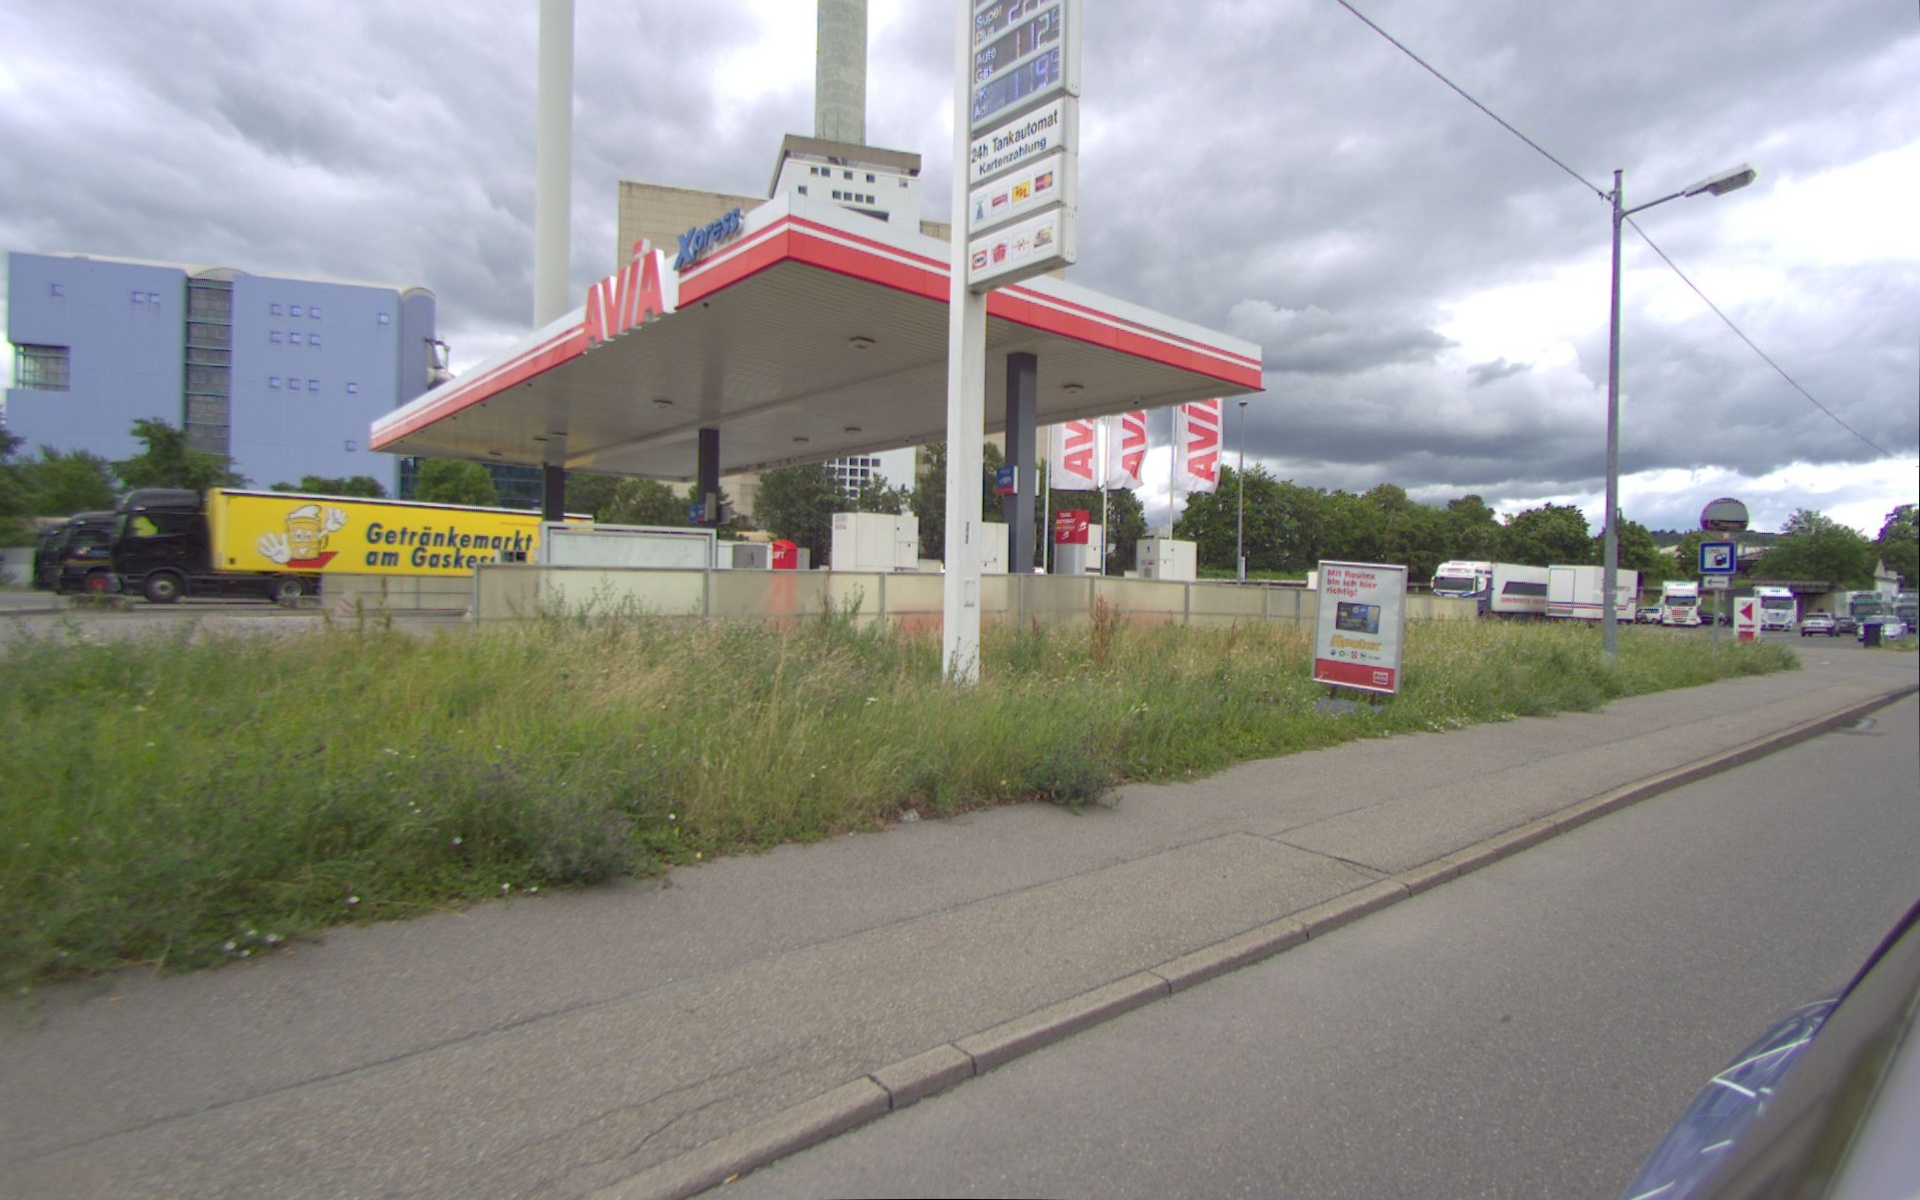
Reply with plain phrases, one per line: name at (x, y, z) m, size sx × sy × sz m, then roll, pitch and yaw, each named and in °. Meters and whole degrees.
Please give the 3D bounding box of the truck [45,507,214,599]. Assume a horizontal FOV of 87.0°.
truck at (-38.756, -2.096, 47.377) m, size 5.937 × 3.964 × 2.694 m, roll 1°, pitch 1°, yaw -42°

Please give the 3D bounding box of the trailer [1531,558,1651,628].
trailer at (39.392, -0.379, 63.012) m, size 10.214 × 4.016 × 2.966 m, roll 1°, pitch 2°, yaw -38°

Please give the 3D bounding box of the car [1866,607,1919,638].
car at (49.194, 1.163, 53.187) m, size 4.480 × 1.482 × 1.776 m, roll 1°, pitch 0°, yaw -41°

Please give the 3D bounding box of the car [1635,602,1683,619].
car at (82.771, 1.175, 119.943) m, size 1.959 × 1.916 × 4.728 m, roll 1°, pitch 0°, yaw -9°

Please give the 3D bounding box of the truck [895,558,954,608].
truck at (-3.252, -1.491, 89.419) m, size 3.633 × 4.172 × 7.271 m, roll 1°, pitch 0°, yaw -14°

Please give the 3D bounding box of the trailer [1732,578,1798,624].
trailer at (79.973, 0.078, 100.831) m, size 2.815 × 4.146 × 13.259 m, roll 2°, pitch 1°, yaw 29°

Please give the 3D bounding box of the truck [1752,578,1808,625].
truck at (76.524, 0.125, 94.538) m, size 2.850 × 4.146 × 6.686 m, roll 2°, pitch 1°, yaw 29°

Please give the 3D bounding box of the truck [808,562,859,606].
truck at (-11.040, -1.340, 87.699) m, size 3.633 × 3.602 × 7.271 m, roll 1°, pitch 0°, yaw -13°

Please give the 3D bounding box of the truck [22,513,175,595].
truck at (-44.755, -2.319, 52.726) m, size 5.937 × 3.964 × 2.694 m, roll 1°, pitch 1°, yaw -42°

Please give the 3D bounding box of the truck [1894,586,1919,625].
truck at (91.969, 0.572, 96.680) m, size 2.855 × 3.675 × 6.674 m, roll 2°, pitch 1°, yaw 34°

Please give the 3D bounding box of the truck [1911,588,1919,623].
truck at (104.634, 0.644, 107.851) m, size 2.807 × 3.758 × 9.003 m, roll 1°, pitch 0°, yaw 31°

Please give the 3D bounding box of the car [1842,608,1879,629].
car at (69.199, 1.430, 77.752) m, size 3.980 × 1.514 × 1.496 m, roll 1°, pitch 0°, yaw -39°

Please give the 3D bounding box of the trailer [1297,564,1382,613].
trailer at (33.086, -0.886, 87.763) m, size 3.620 × 3.960 × 13.562 m, roll 1°, pitch 0°, yaw 35°

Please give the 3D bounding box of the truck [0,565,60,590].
truck at (-75.293, -1.803, 80.479) m, size 5.179 × 1.953 × 2.005 m, roll 1°, pitch 1°, yaw -18°

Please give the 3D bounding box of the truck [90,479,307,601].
truck at (-27.128, -1.983, 36.160) m, size 5.937 × 3.964 × 2.961 m, roll 1°, pitch 1°, yaw -42°

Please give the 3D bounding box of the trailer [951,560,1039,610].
trailer at (2.978, -1.363, 96.212) m, size 3.566 × 4.225 × 18.538 m, roll 1°, pitch 0°, yaw -13°

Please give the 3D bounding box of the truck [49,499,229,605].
truck at (-36.015, -1.987, 44.502) m, size 5.937 × 4.316 × 3.048 m, roll 1°, pitch 1°, yaw -42°

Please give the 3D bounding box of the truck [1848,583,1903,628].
truck at (86.970, 0.501, 96.223) m, size 2.855 × 4.064 × 6.674 m, roll 2°, pitch 1°, yaw 34°

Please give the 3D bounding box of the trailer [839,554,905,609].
trailer at (-8.361, -1.602, 93.330) m, size 3.484 × 4.557 × 18.326 m, roll 0°, pitch 0°, yaw -13°

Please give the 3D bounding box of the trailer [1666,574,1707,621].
trailer at (68.852, -0.219, 96.069) m, size 2.822 × 4.146 × 13.226 m, roll 2°, pitch 1°, yaw 35°

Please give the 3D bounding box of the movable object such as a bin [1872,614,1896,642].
movable object such as a bin at (37.522, 1.136, 41.113) m, size 0.714 × 1.095 × 0.652 m, roll 1°, pitch 0°, yaw 43°

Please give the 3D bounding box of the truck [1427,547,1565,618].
truck at (33.705, -1.006, 63.263) m, size 12.839 × 4.016 × 3.081 m, roll 1°, pitch 2°, yaw -41°

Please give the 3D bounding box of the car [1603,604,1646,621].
car at (77.977, 1.429, 118.867) m, size 1.958 × 1.896 × 4.007 m, roll 1°, pitch 1°, yaw -11°

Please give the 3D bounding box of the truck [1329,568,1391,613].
truck at (36.809, -0.838, 93.067) m, size 3.610 × 3.928 × 7.161 m, roll 1°, pitch 0°, yaw 36°

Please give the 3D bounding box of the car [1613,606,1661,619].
car at (80.400, 1.443, 120.230) m, size 1.959 × 1.458 × 4.728 m, roll 1°, pitch 0°, yaw -9°

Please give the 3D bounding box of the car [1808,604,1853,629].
car at (58.954, 1.115, 68.495) m, size 3.930 × 1.591 × 1.767 m, roll 1°, pitch -2°, yaw -41°

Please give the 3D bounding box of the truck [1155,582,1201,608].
truck at (23.183, -0.583, 107.865) m, size 2.233 × 2.521 × 5.972 m, roll 2°, pitch 2°, yaw -15°

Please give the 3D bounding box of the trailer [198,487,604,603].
trailer at (-21.877, -1.946, 40.938) m, size 14.056 × 3.964 × 3.004 m, roll 0°, pitch 1°, yaw -42°

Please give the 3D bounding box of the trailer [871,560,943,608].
trailer at (-5.476, -1.527, 98.365) m, size 3.566 × 4.141 × 18.538 m, roll 1°, pitch 0°, yaw -14°

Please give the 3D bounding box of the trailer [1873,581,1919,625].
trailer at (95.421, 0.373, 101.971) m, size 2.820 × 4.146 × 13.237 m, roll 2°, pitch 1°, yaw 33°

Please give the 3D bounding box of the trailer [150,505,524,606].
trailer at (-30.008, -1.941, 49.966) m, size 15.455 × 4.314 × 3.025 m, roll 0°, pitch 1°, yaw -42°

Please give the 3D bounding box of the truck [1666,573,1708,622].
truck at (65.380, -0.240, 91.103) m, size 2.857 × 4.146 × 6.671 m, roll 2°, pitch 1°, yaw 35°
